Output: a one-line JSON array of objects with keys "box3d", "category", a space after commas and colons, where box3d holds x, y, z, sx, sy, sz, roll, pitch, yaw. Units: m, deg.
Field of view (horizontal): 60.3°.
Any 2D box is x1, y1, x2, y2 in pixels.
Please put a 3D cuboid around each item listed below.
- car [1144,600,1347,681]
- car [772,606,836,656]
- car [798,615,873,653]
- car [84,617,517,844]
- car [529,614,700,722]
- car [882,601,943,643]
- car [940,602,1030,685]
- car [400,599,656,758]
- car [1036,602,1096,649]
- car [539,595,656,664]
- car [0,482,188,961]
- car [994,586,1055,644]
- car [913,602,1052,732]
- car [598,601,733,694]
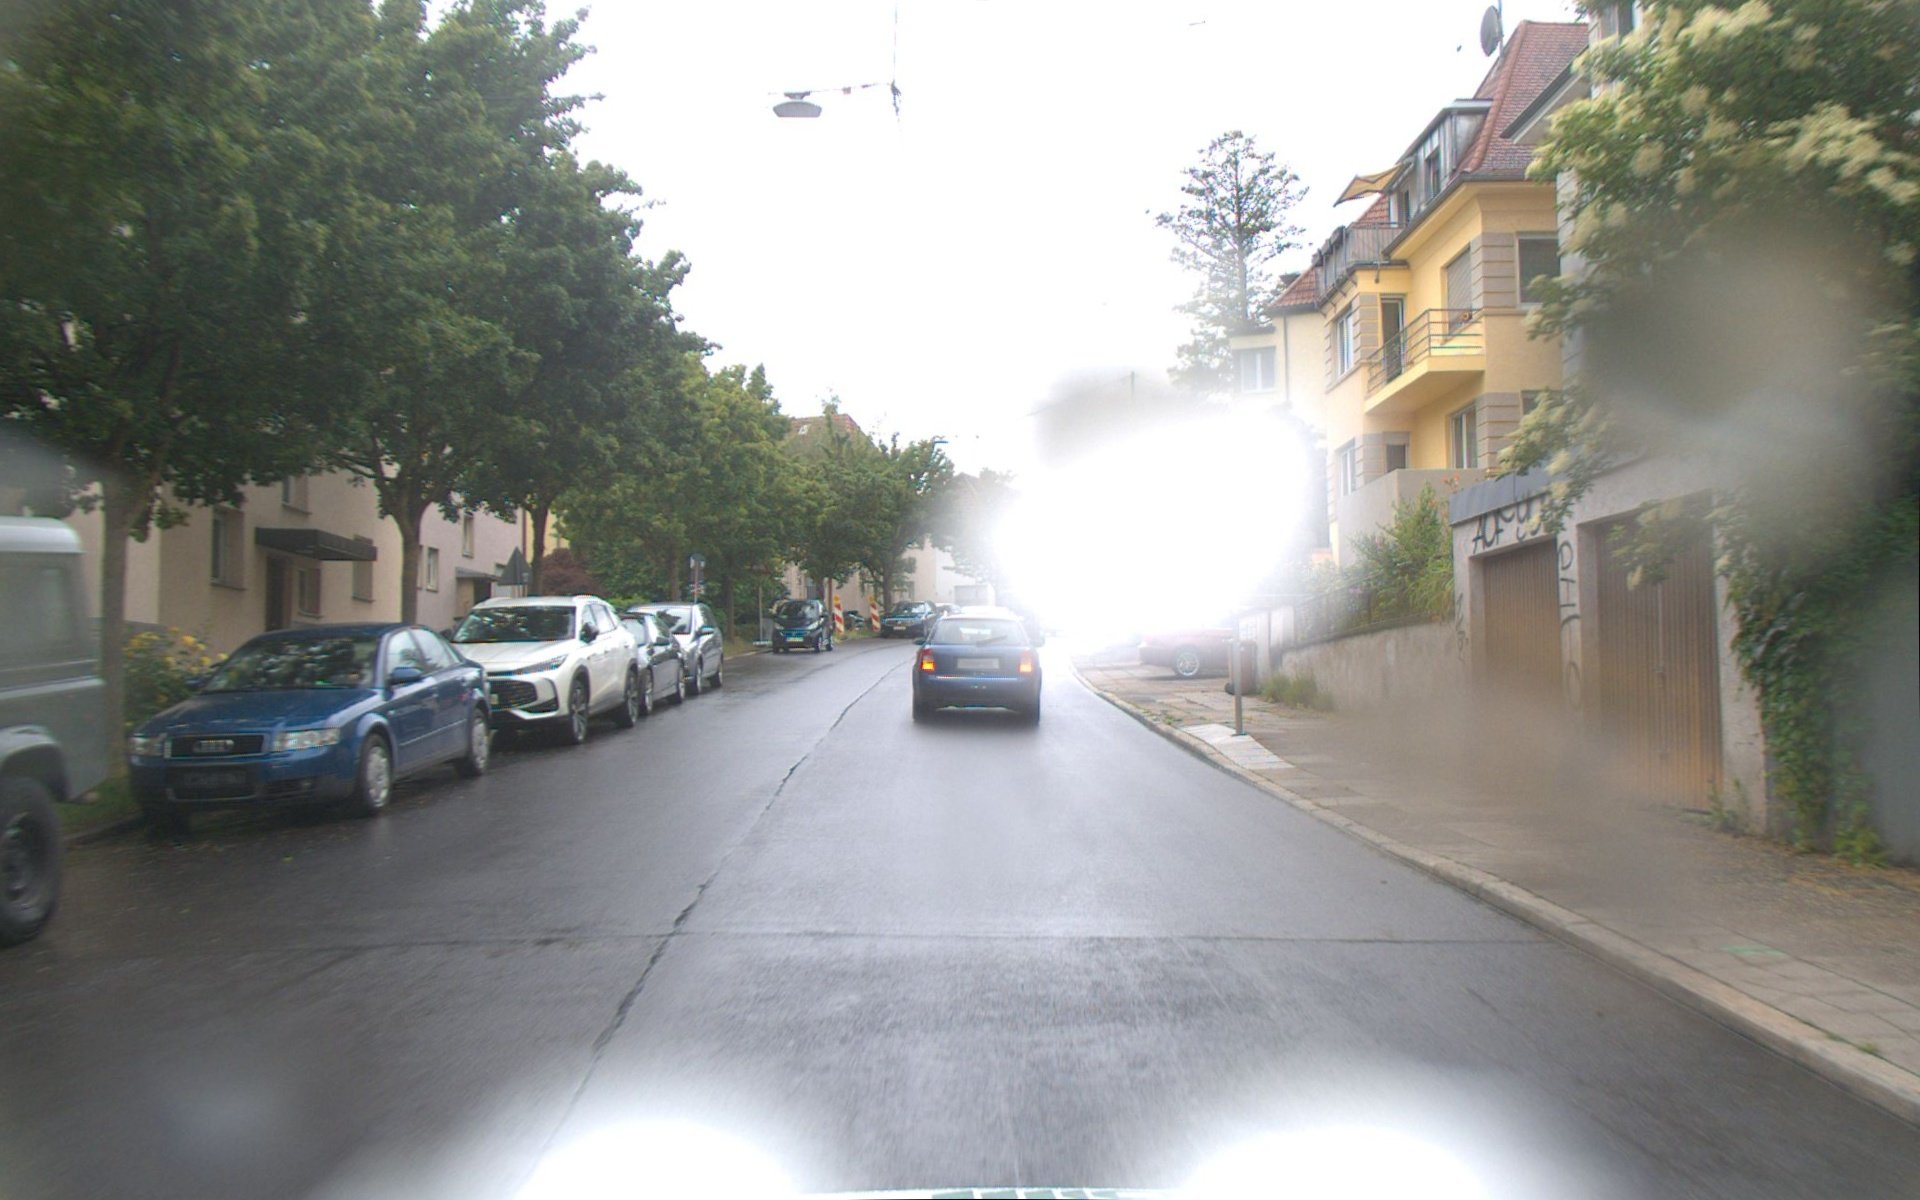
[{"box3d": [5.755, 0.800, 33.715, 3.903, 1.492, 1.740, -1, 1, 4], "category": "car"}, {"box3d": [-4.685, 0.919, 49.996, 1.444, 1.318, 3.222, 3, 1, 2], "category": "car"}, {"box3d": [-5.982, 1.618, 79.548, 3.143, 1.395, 1.481, -7, 1, 17], "category": "car"}, {"box3d": [-5.165, 0.926, 13.719, 1.732, 1.411, 4.633, -1, 1, 0], "category": "car"}, {"box3d": [-5.181, 0.983, 25.291, 1.732, 1.499, 4.007, -1, -1, 0], "category": "car"}, {"box3d": [-1.887, 0.852, 66.881, 1.696, 1.492, 4.004, 3, 1, 9], "category": "car"}, {"box3d": [0.630, 0.970, 39.059, 1.934, 1.663, 4.236, 3, 1, 2], "category": "car"}, {"box3d": [-5.011, 0.865, 19.878, 1.731, 1.655, 4.690, -1, -1, 1], "category": "car"}, {"box3d": [4.577, 1.056, 70.889, 1.697, 1.799, 4.238, 3, 1, 14], "category": "car"}, {"box3d": [-11.235, 0.913, 51.385, 3.145, 1.770, 1.480, -6, 1, 1], "category": "car"}, {"box3d": [-5.053, 0.568, 6.631, 1.756, 2.085, 4.779, -3, 1, -3], "category": "car"}, {"box3d": [2.281, 0.486, 57.471, 1.697, 1.799, 4.238, 3, 1, 7], "category": "car"}, {"box3d": [0.293, 0.851, 22.963, 1.698, 1.492, 4.000, 3, 1, 0], "category": "car"}, {"box3d": [-5.346, 0.846, 30.491, 1.732, 1.566, 4.007, -1, -1, 0], "category": "car"}]
